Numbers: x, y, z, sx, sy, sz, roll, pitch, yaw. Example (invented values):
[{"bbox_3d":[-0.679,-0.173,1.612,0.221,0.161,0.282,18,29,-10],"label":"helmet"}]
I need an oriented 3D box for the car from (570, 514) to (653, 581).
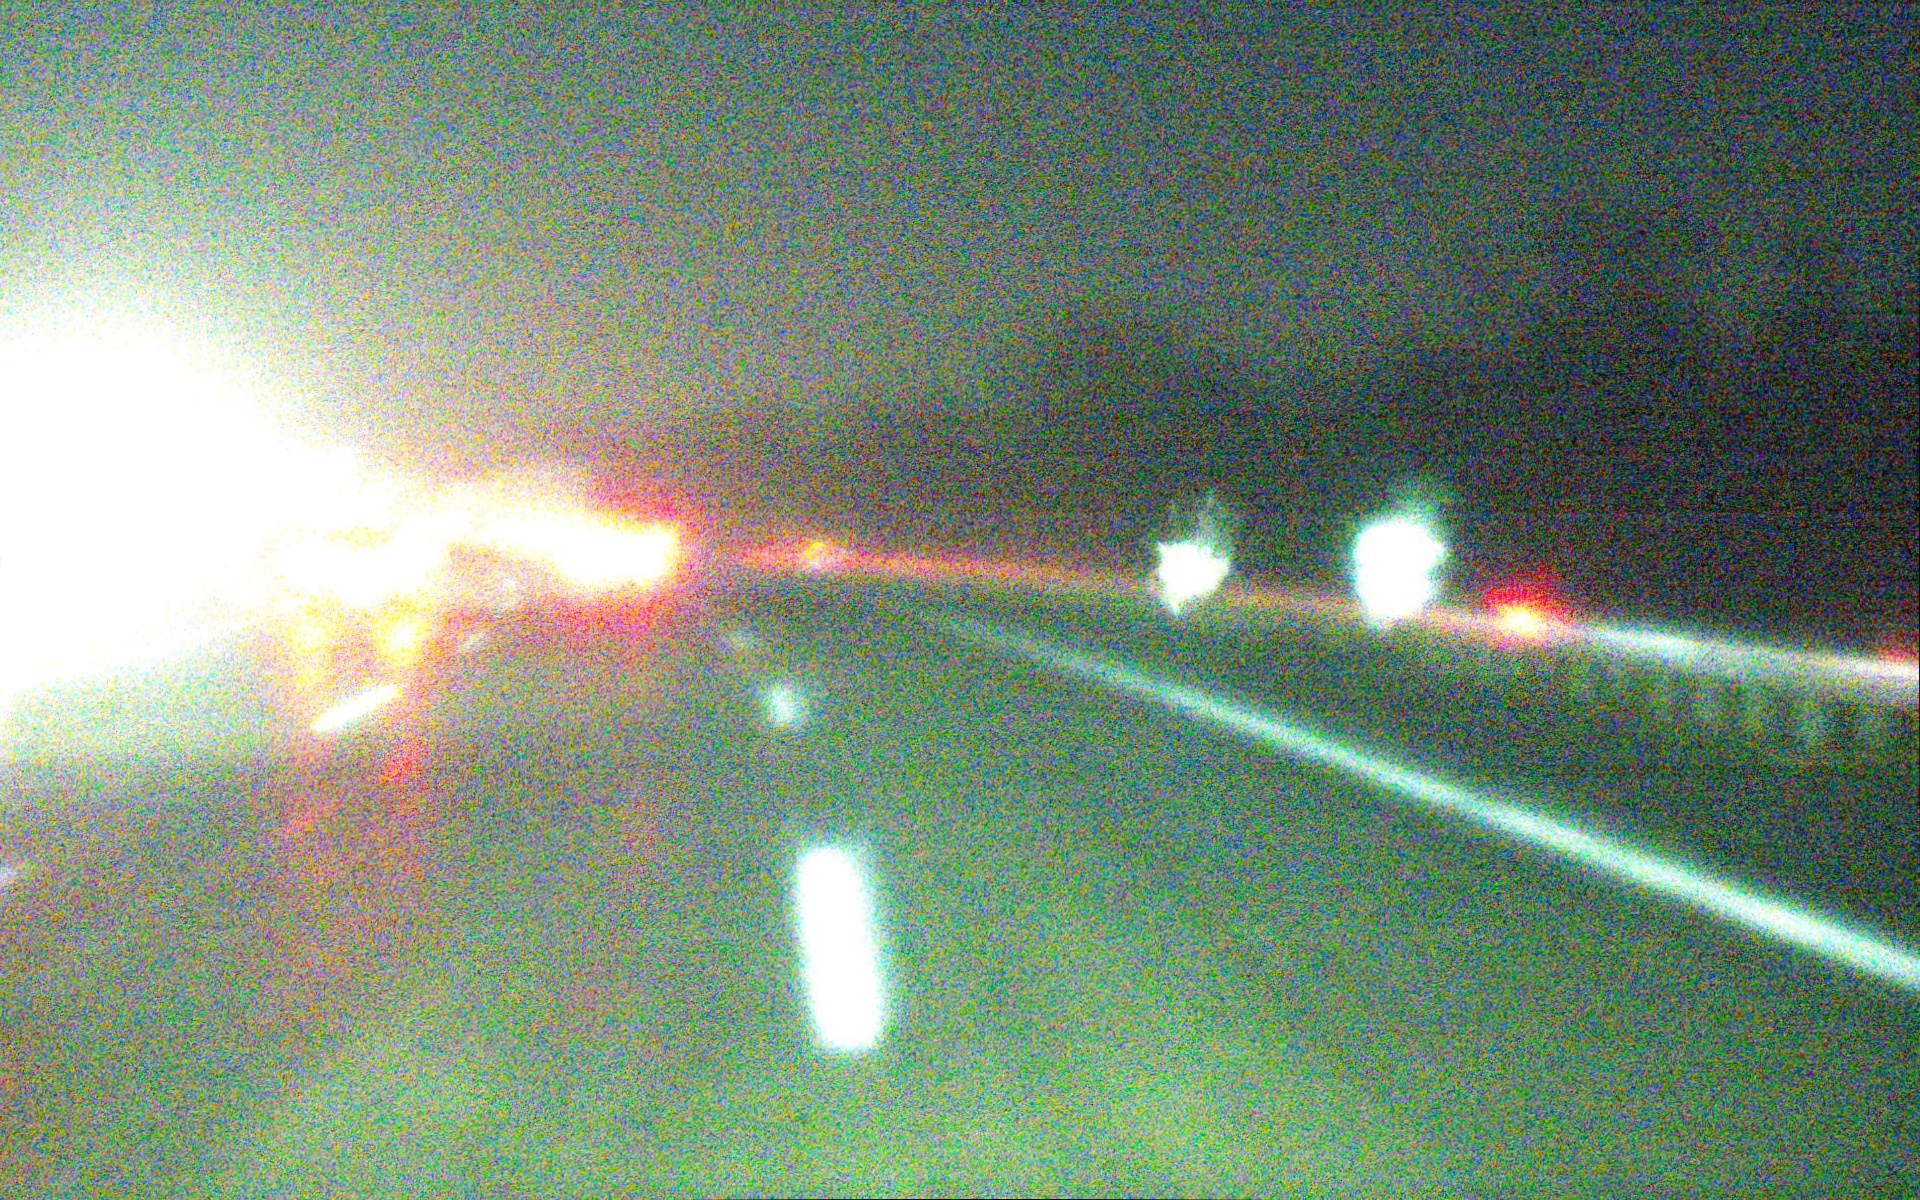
[{"bbox_3d":[-8.065,-1.228,79.793,1.801,1.482,4.001,1,1,-4],"label":"car"}]

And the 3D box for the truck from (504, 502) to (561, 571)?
[{"bbox_3d":[-19.742,-2.899,158.637,1.993,3.032,6.467,1,0,-12],"label":"truck"}]

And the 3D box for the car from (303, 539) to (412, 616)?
[{"bbox_3d":[-10.175,-0.367,58.240,1.662,1.232,3.762,1,0,-8],"label":"car"}]

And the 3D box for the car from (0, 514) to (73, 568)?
[{"bbox_3d":[-28.676,-1.834,106.148,1.771,1.626,4.704,1,1,-6],"label":"car"}]

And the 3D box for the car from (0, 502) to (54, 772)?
[{"bbox_3d":[-6.229,0.169,18.447,1.858,1.535,4.752,4,1,-6],"label":"car"}]
